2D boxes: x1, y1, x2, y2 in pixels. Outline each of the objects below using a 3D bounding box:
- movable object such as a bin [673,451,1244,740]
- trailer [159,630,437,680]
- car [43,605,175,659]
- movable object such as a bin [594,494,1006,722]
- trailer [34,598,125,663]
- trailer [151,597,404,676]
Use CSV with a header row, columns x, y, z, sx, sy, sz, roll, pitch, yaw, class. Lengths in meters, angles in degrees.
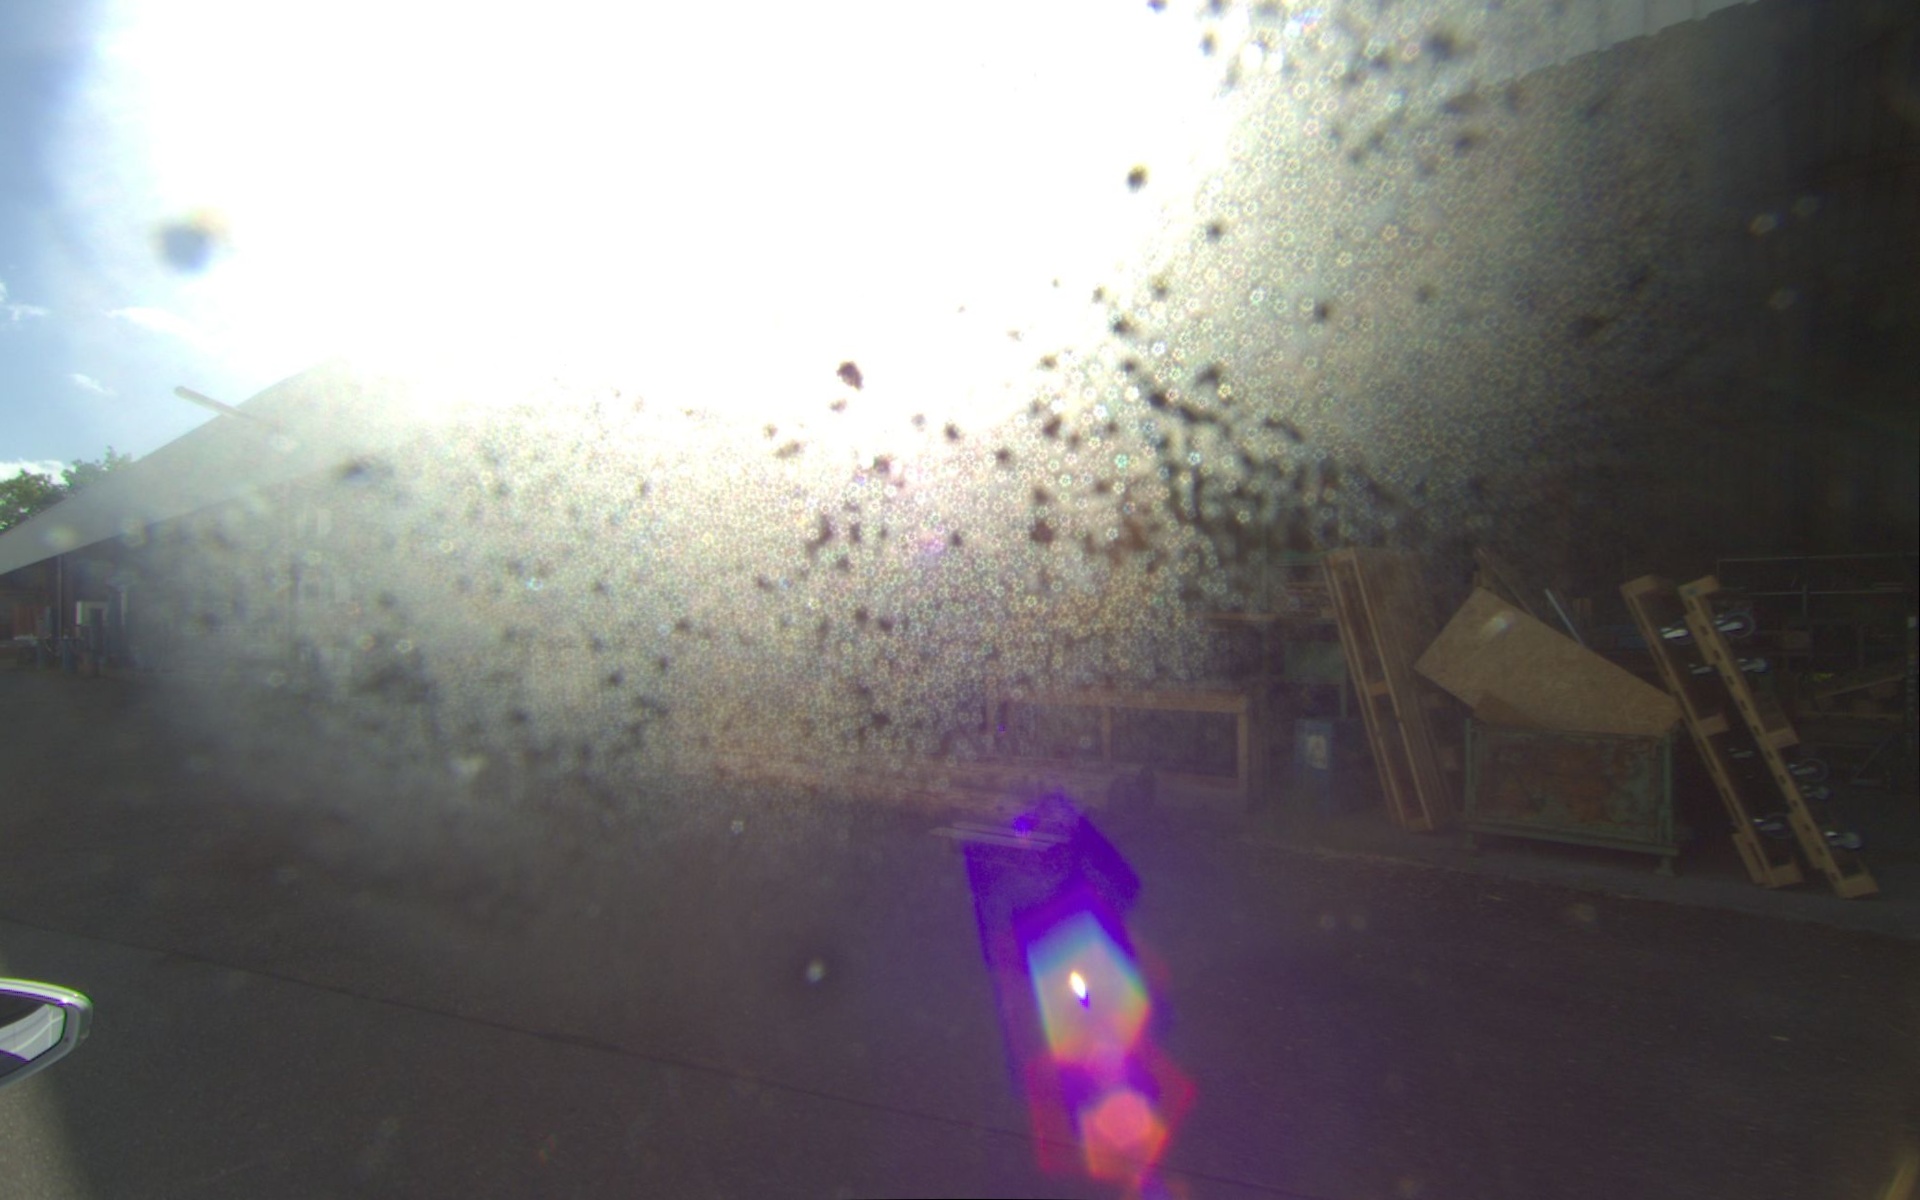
x,y,z,sx,sy,sz,roll,pitch,yaw,class
0.653,0.096,14.724,3.176,2.947,9.149,-1,-2,41,movable object such as a bin
-17.313,1.382,26.518,2.116,1.147,5.824,-1,-2,39,trailer
-39.511,1.558,46.571,1.895,2.337,4.413,-4,-5,42,car
-2.323,0.213,16.265,2.983,2.947,6.156,-1,-2,41,movable object such as a bin
-34.426,1.209,39.173,1.708,2.429,2.511,-2,-2,42,trailer
-19.489,1.005,28.856,2.055,2.058,5.737,-1,-1,42,trailer
